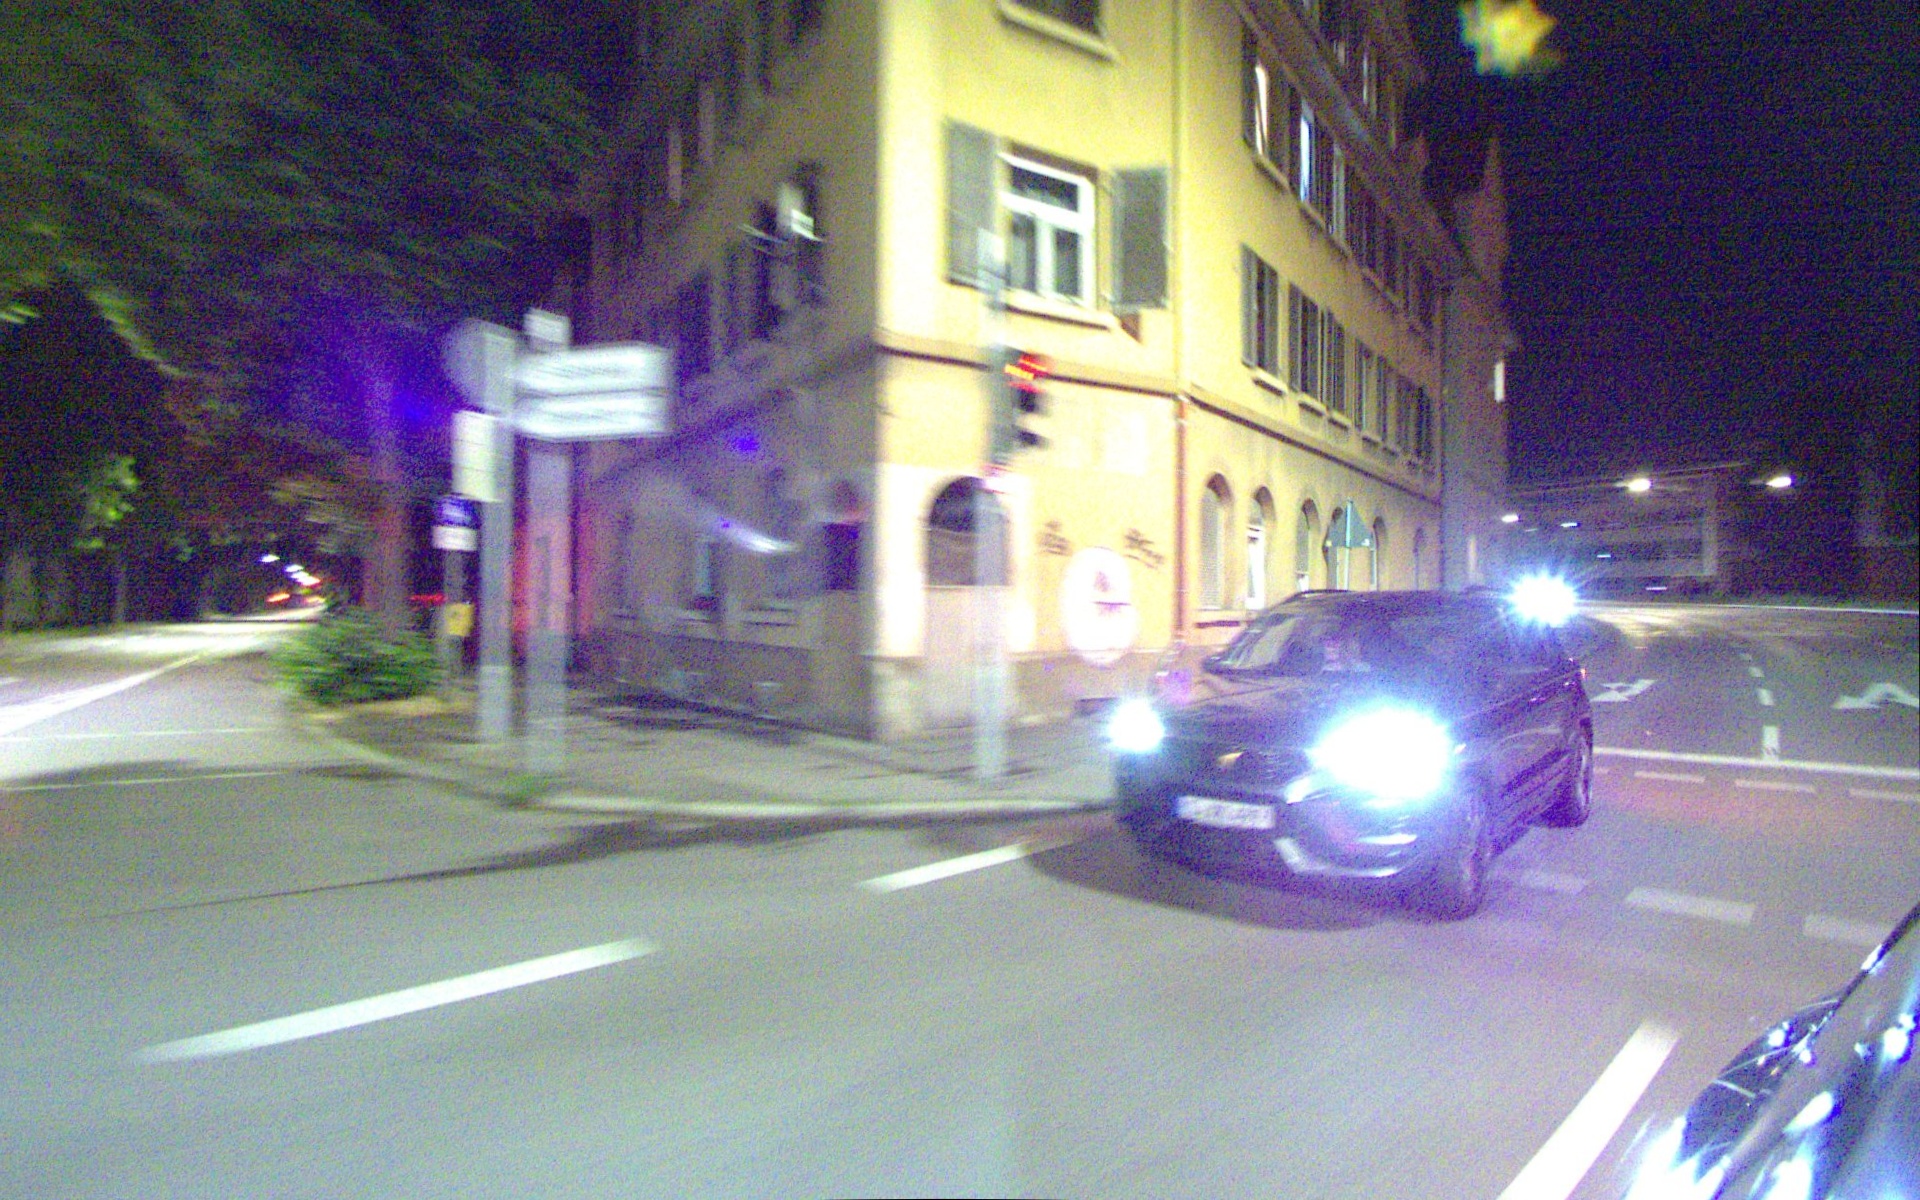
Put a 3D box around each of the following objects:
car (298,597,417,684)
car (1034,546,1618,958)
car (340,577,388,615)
[{"bbox_3d":[-12.636,0.786,21.410,1.960,1.609,4.004,-1,0,-29],"label":"car"},{"bbox_3d":[2.450,0.569,6.163,1.993,1.636,3.939,0,1,42],"label":"car"},{"bbox_3d":[-29.560,-0.140,50.185,1.960,1.685,3.903,0,-3,-31],"label":"car"}]
